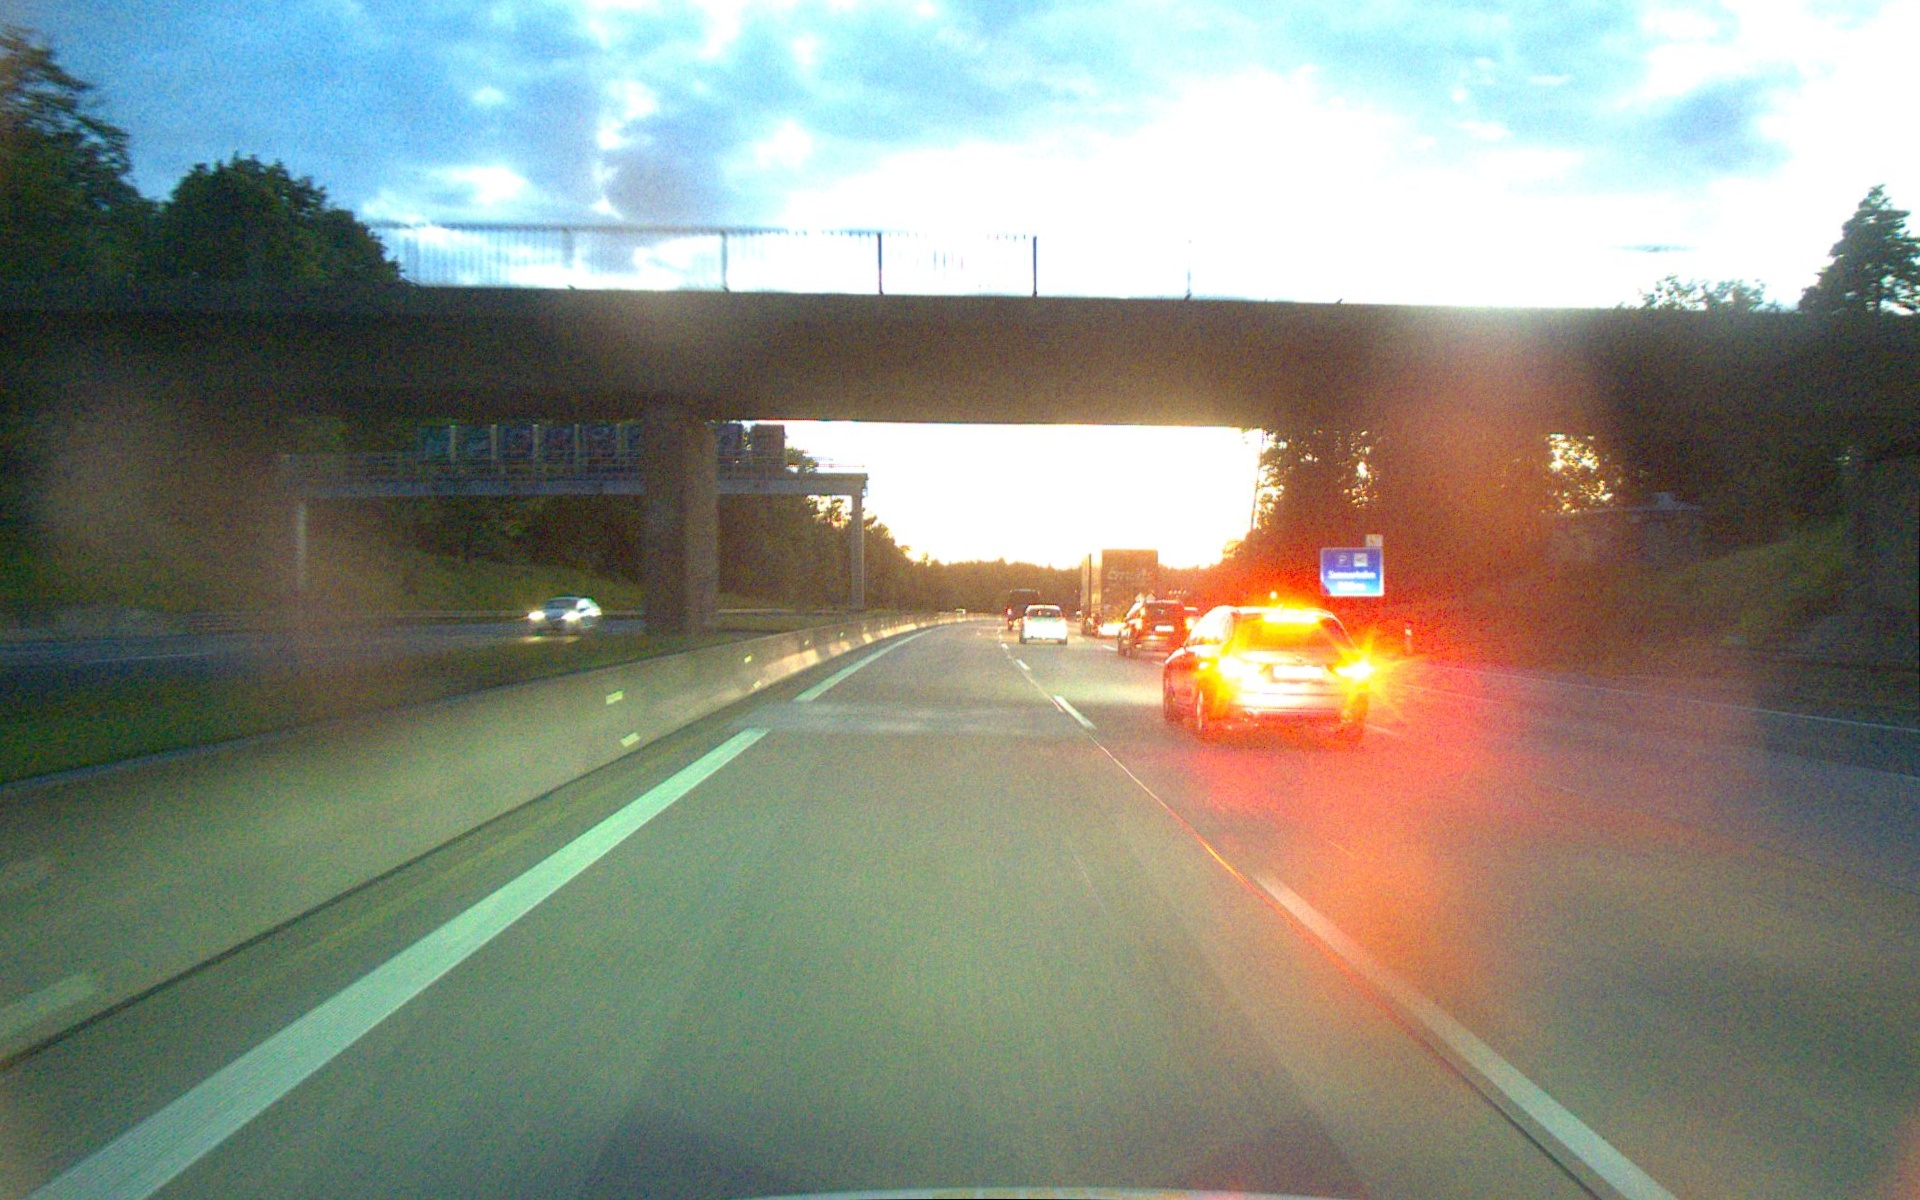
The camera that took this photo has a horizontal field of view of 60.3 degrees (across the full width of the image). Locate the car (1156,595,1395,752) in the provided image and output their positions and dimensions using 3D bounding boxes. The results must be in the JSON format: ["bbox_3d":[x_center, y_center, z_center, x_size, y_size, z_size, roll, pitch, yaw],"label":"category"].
[{"bbox_3d":[3.609,0.760,19.903,1.870,1.564,5.231,0,1,0],"label":"car"}]

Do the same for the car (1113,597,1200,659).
[{"bbox_3d":[5.601,0.784,47.810,1.864,1.672,5.051,1,0,-1],"label":"car"}]

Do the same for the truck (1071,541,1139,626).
[{"bbox_3d":[7.616,-0.722,88.160,2.825,4.172,10.831,1,-1,1],"label":"truck"}]

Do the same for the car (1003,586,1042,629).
[{"bbox_3d":[3.682,0.480,97.812,2.121,2.461,5.563,1,-1,0],"label":"car"}]

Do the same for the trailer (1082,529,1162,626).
[{"bbox_3d":[7.468,-0.898,77.573,2.847,4.172,10.357,1,-1,1],"label":"trailer"}]

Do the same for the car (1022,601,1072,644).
[{"bbox_3d":[3.245,0.825,62.396,1.820,1.467,3.721,0,1,2],"label":"car"}]

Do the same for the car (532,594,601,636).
[{"bbox_3d":[-15.865,0.580,66.933,1.774,1.547,4.429,0,1,-1],"label":"car"}]

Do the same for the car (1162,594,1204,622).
[{"bbox_3d":[12.144,0.444,90.221,1.821,1.467,4.112,0,-1,1],"label":"car"}]
